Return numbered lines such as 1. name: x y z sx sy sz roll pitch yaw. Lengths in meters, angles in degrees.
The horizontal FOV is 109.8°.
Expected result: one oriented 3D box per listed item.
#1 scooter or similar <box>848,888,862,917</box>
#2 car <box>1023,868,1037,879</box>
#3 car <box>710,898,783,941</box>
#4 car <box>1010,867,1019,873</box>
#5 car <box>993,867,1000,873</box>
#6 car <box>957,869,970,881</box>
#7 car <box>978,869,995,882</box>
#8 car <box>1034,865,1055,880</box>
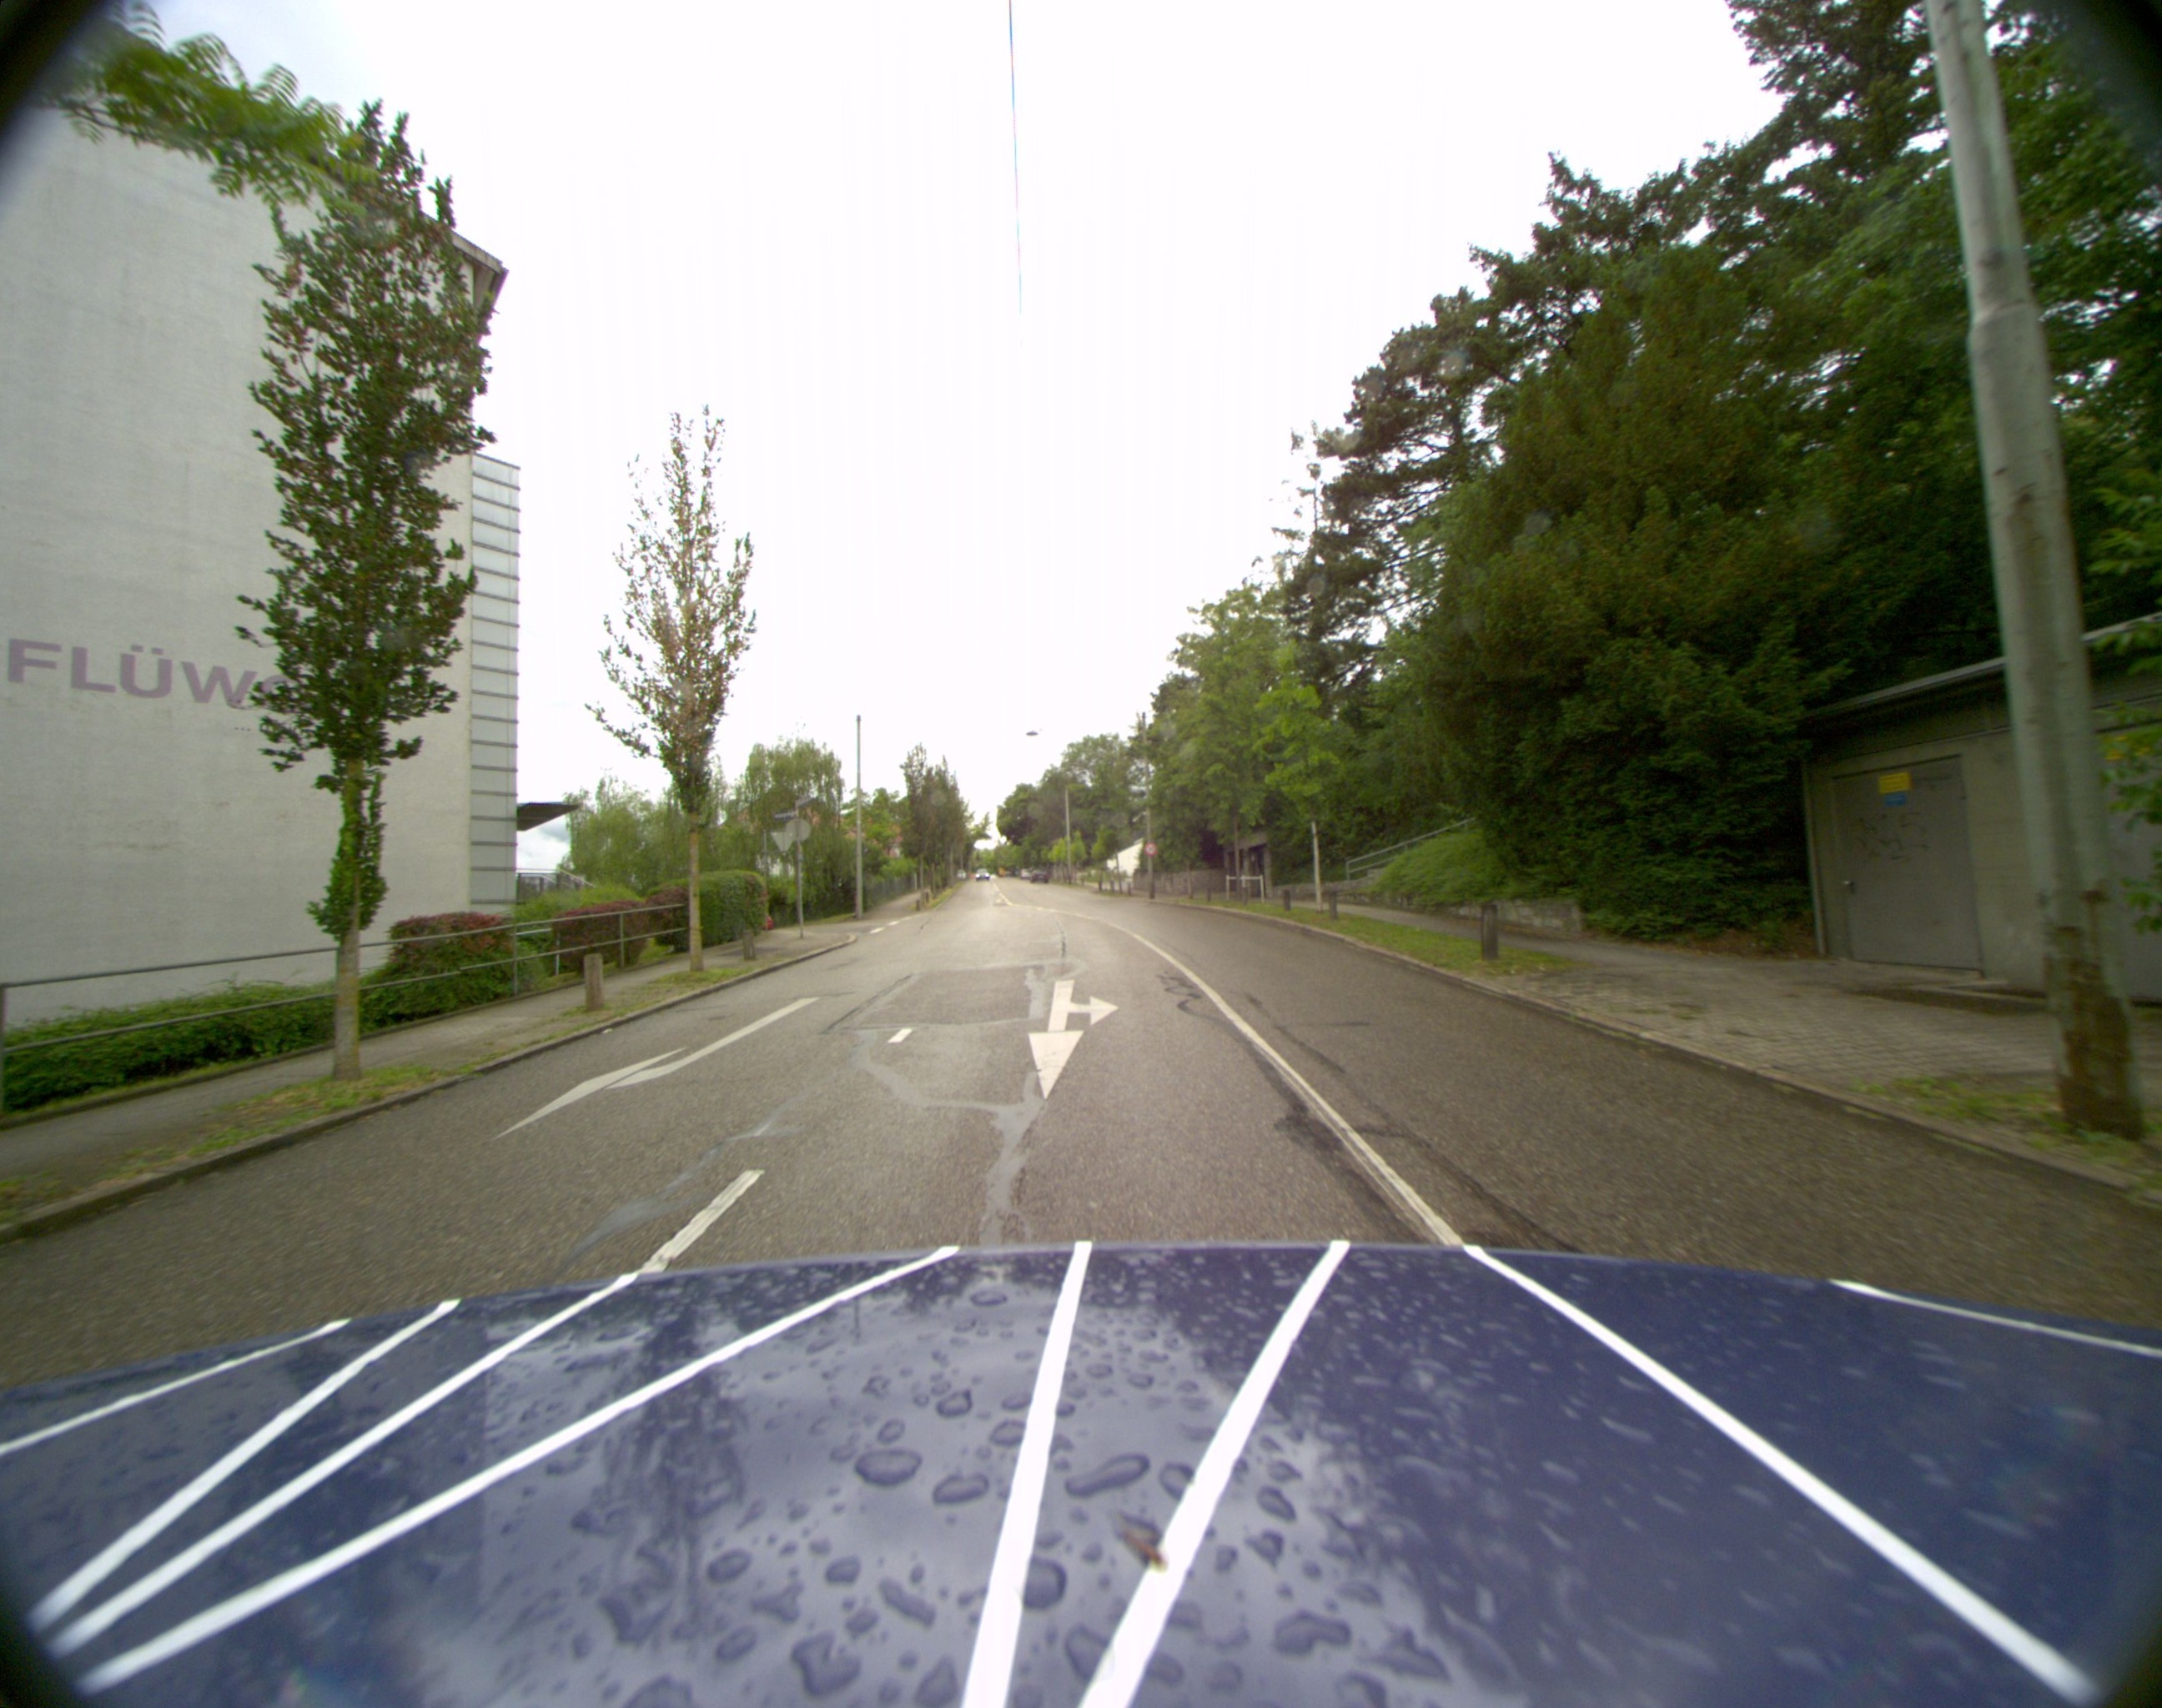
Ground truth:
1. scooter or similar: -10.573 2.260 35.580 0.344 1.247 1.266 -5 1 -8
2. car: -7.174 2.754 106.979 1.770 1.477 3.799 0 -1 -7
3. car: -15.683 3.085 35.594 3.563 1.512 1.648 -12 -7 40
4. car: -15.306 3.680 174.393 1.751 1.540 3.915 1 -1 -8
5. car: -23.229 4.399 209.092 1.767 1.477 3.997 -1 0 -7
6. car: -17.380 3.121 112.371 1.830 1.620 3.997 -2 0 -9
7. car: -13.363 3.019 107.634 1.999 1.673 3.999 -5 -1 -5
8. car: -4.062 1.980 83.982 1.917 1.575 4.584 1 0 -6
